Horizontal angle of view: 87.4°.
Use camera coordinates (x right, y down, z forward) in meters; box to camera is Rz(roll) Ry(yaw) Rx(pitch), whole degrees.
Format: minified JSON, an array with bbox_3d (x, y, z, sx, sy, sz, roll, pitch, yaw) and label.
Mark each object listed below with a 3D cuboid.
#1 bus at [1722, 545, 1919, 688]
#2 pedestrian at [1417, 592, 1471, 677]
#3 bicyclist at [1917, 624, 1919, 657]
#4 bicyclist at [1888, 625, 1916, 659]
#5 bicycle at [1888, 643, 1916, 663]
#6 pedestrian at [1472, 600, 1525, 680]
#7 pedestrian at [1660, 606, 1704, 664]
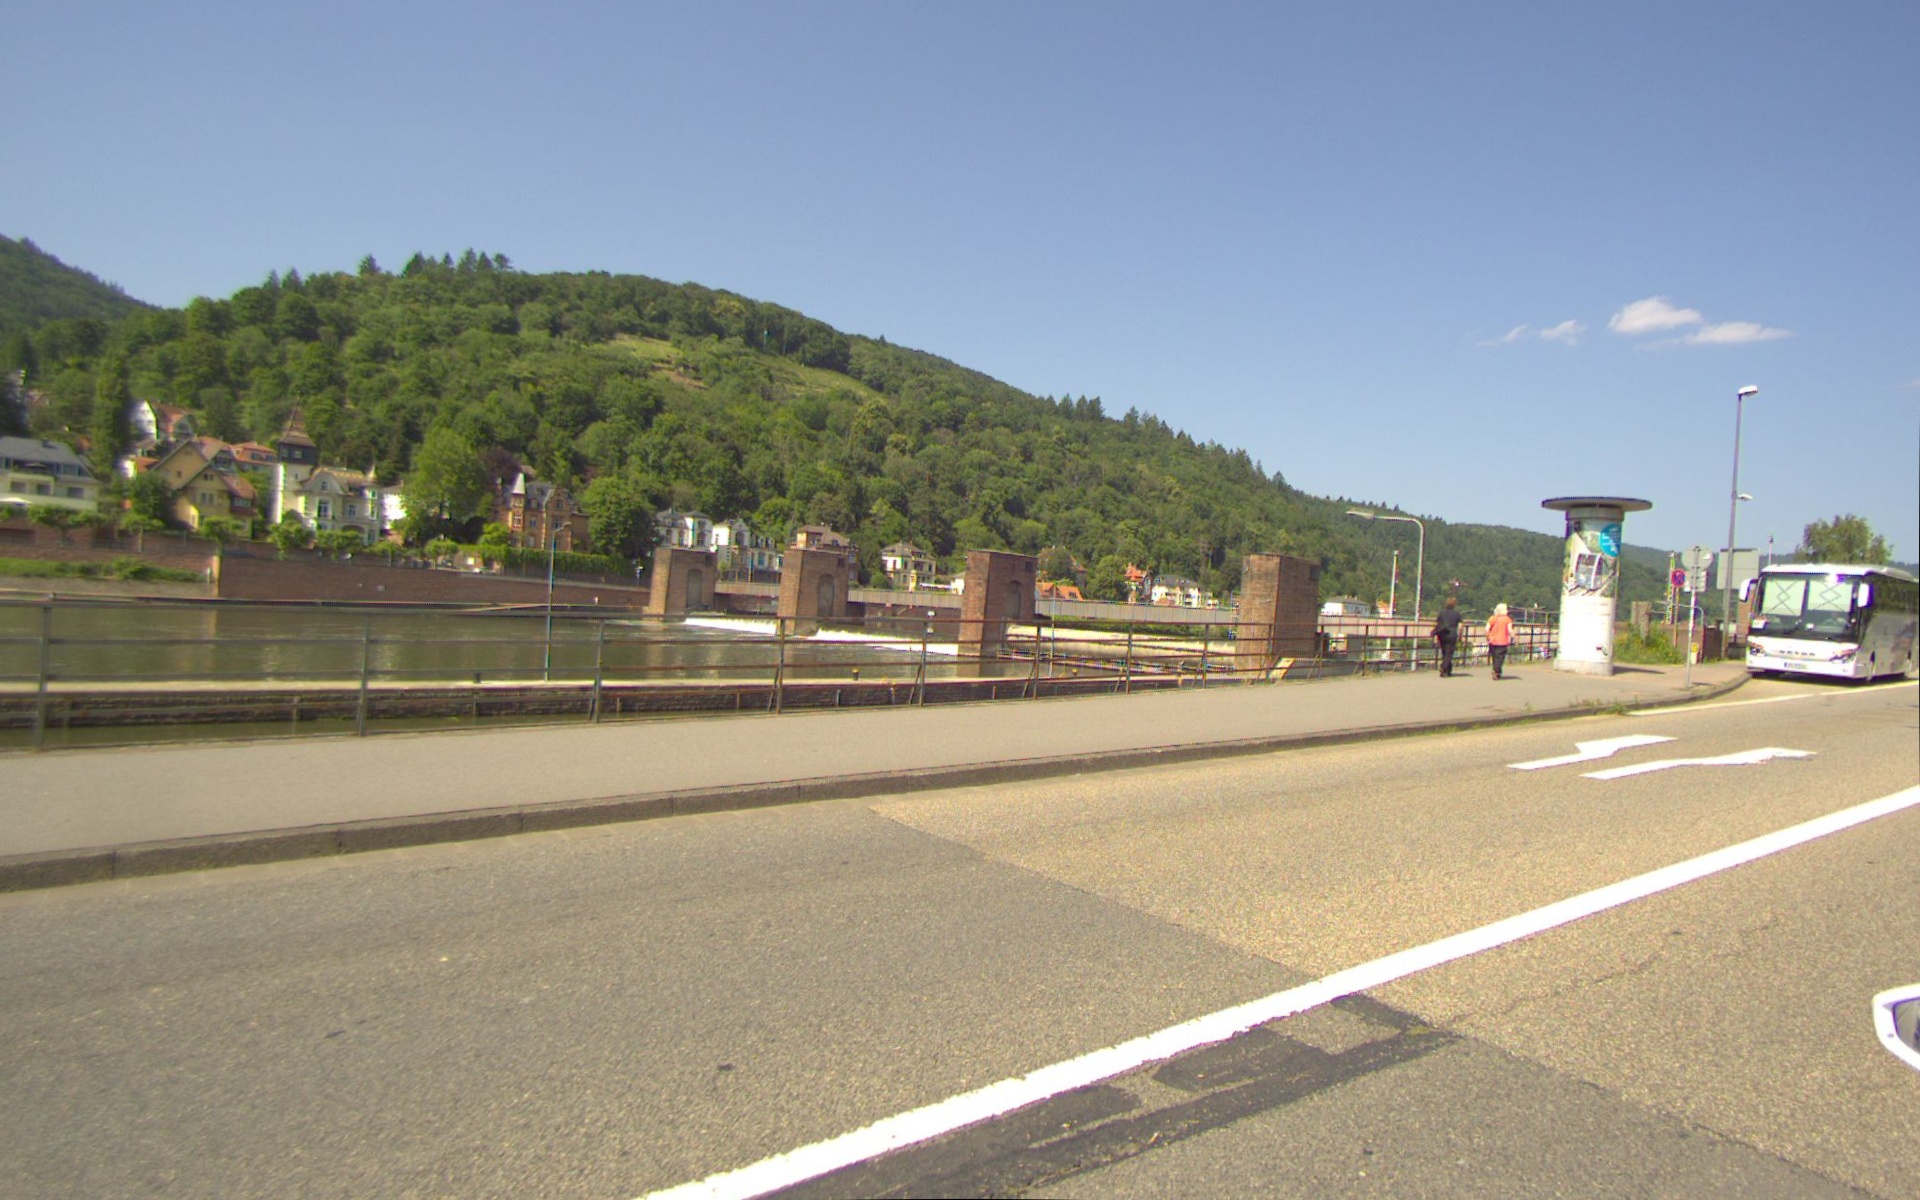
[{"bbox_3d":[28.887,0.581,33.097,13.136,3.851,2.931,2,3,-40],"label":"bus"},{"bbox_3d":[10.186,0.728,21.152,0.766,1.731,0.677,3,0,-38],"label":"pedestrian"},{"bbox_3d":[60.634,2.568,62.709,1.111,2.040,1.200,2,-1,-45],"label":"bicyclist"},{"bbox_3d":[58.401,2.611,62.252,1.111,2.040,1.200,2,0,-45],"label":"bicyclist"},{"bbox_3d":[58.377,3.257,62.217,1.200,1.105,2.582,2,0,44],"label":"bicycle"},{"bbox_3d":[11.459,0.851,21.373,0.811,1.642,0.696,3,0,-43],"label":"pedestrian"},{"bbox_3d":[23.895,1.161,33.230,1.033,1.820,0.884,3,0,-41],"label":"pedestrian"}]
